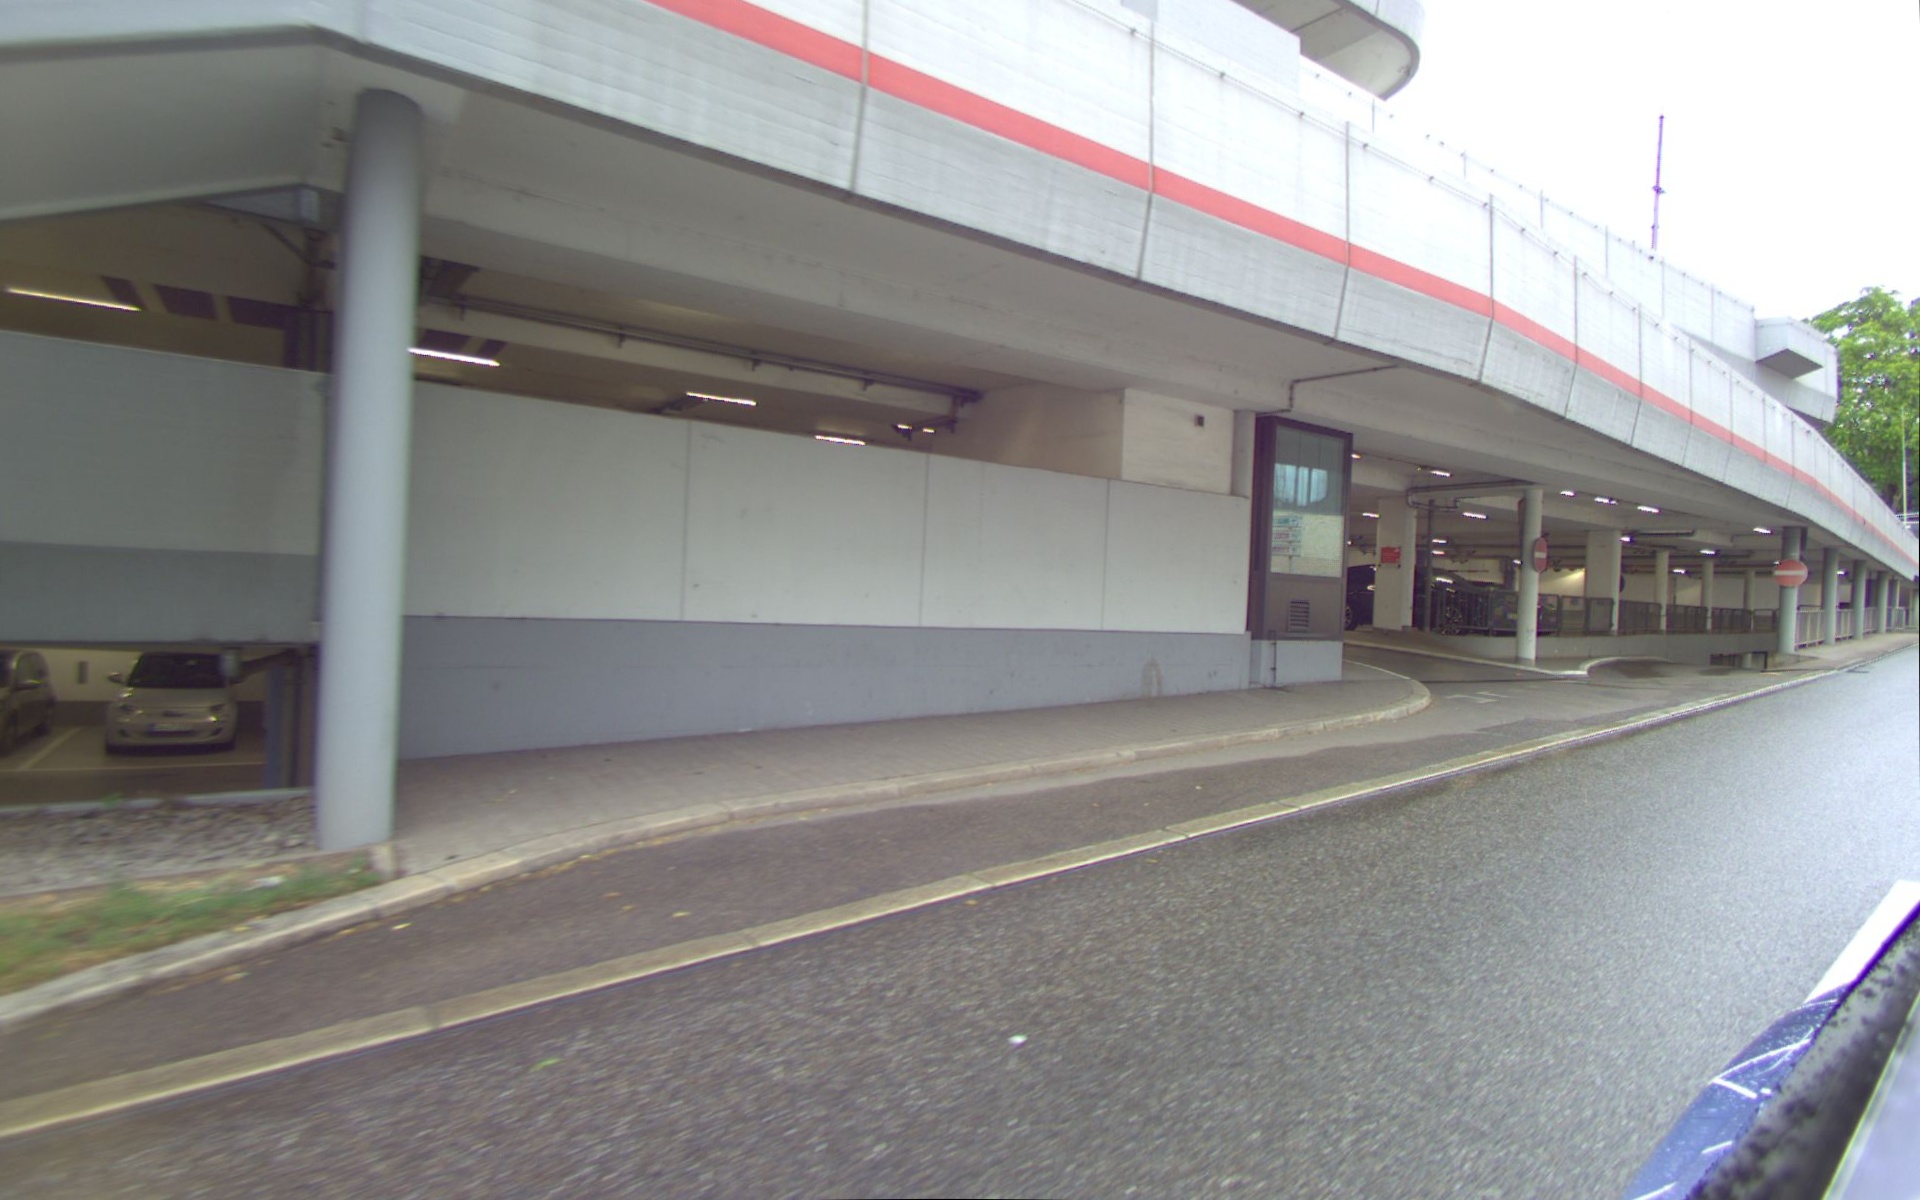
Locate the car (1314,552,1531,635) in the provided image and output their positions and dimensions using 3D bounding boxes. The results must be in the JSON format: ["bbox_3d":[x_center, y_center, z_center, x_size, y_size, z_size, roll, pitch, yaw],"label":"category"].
[{"bbox_3d":[10.860,-0.170,24.059,1.960,1.682,4.262,5,-1,-31],"label":"car"}]

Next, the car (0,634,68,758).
[{"bbox_3d":[-15.514,1.413,15.817,1.803,1.560,4.001,4,-1,-35],"label":"car"}]

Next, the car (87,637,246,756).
[{"bbox_3d":[-13.383,1.553,17.289,1.803,1.560,4.001,4,-1,-35],"label":"car"}]

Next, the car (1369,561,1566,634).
[{"bbox_3d":[13.460,-0.087,27.100,1.960,1.682,4.262,5,-1,-31],"label":"car"}]
